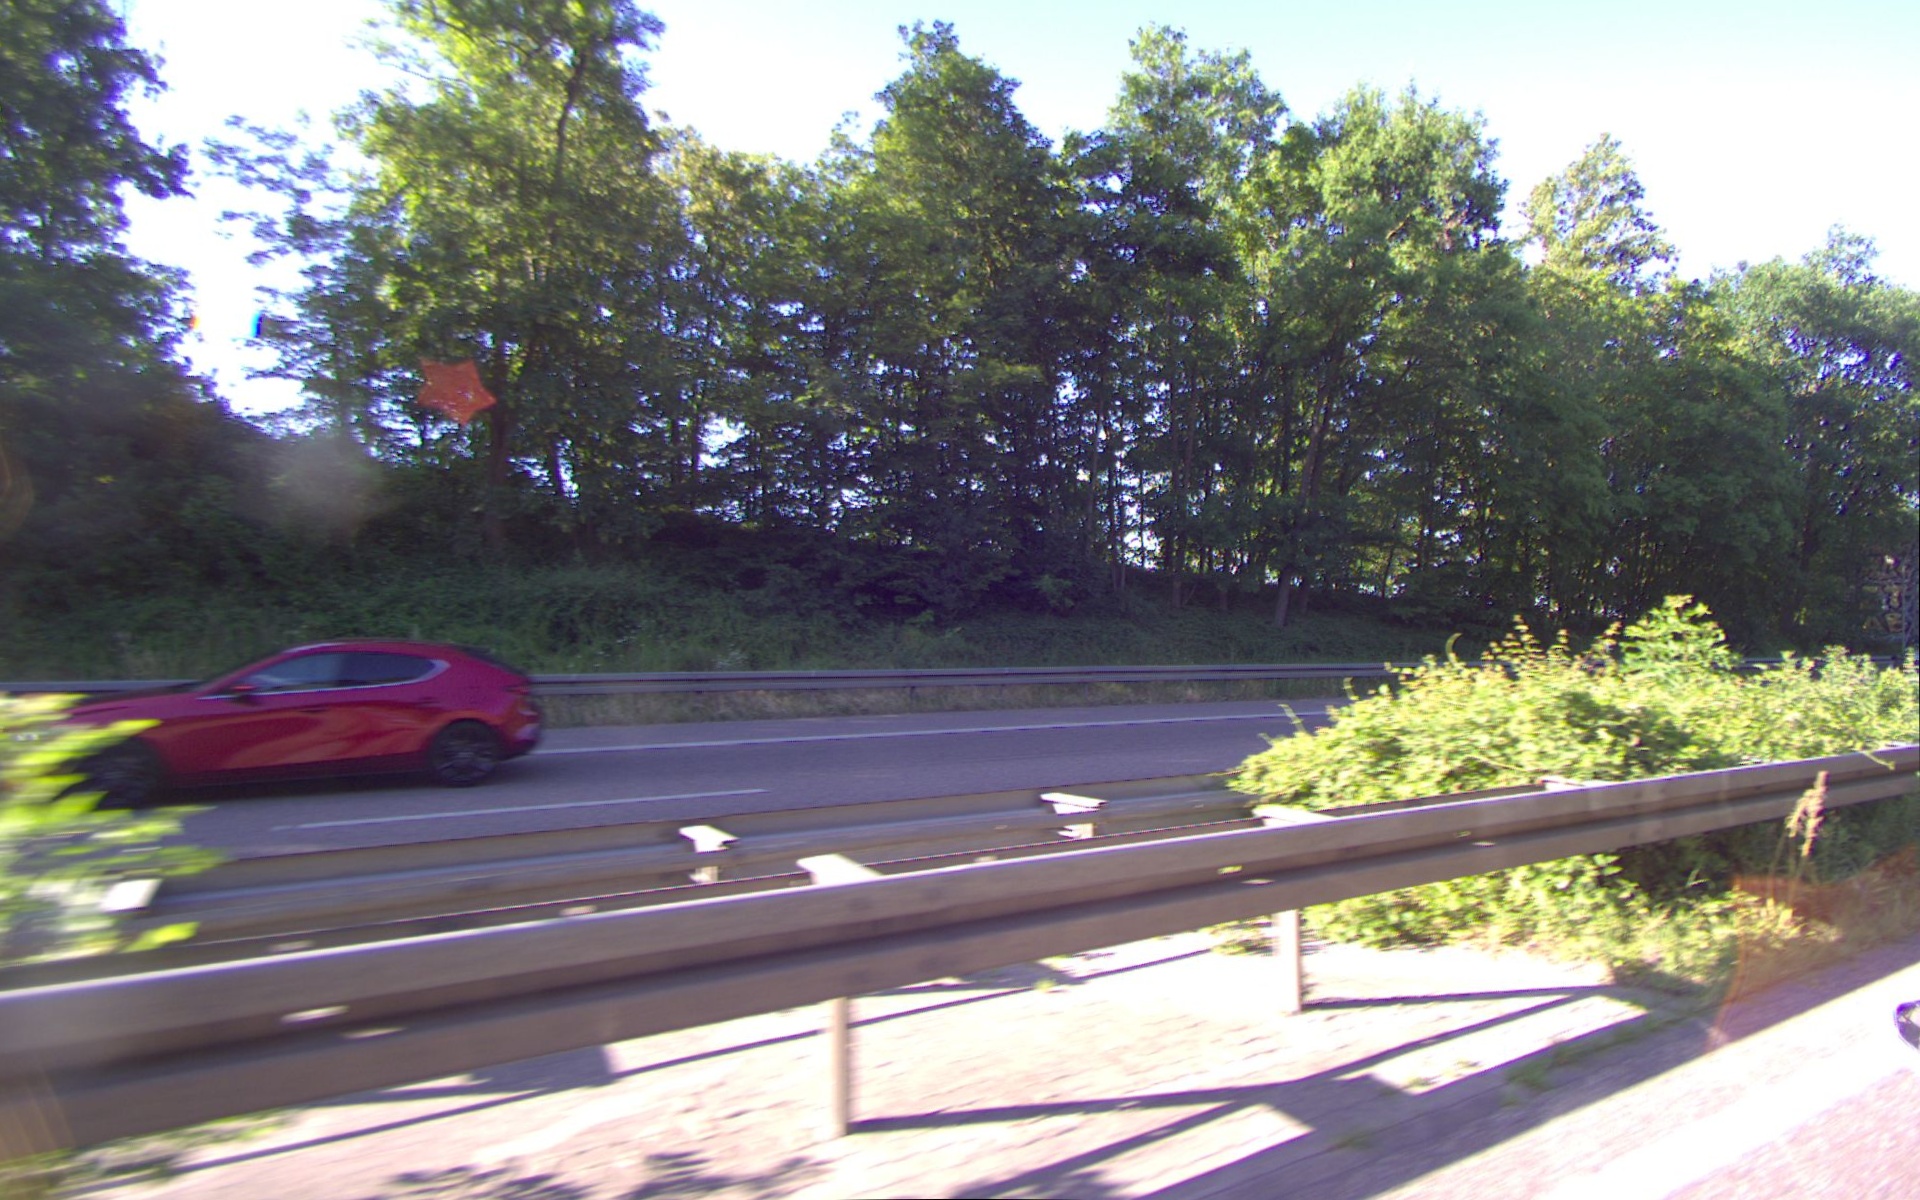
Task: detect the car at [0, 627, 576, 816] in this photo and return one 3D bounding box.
[{"bbox_3d":[-6.412,1.050,10.052,4.532,1.469,1.950,2,0,-31],"label":"car"}]

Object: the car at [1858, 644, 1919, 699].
[{"bbox_3d":[28.359,2.074,29.394,4.277,1.469,1.950,2,0,-31],"label":"car"}]
